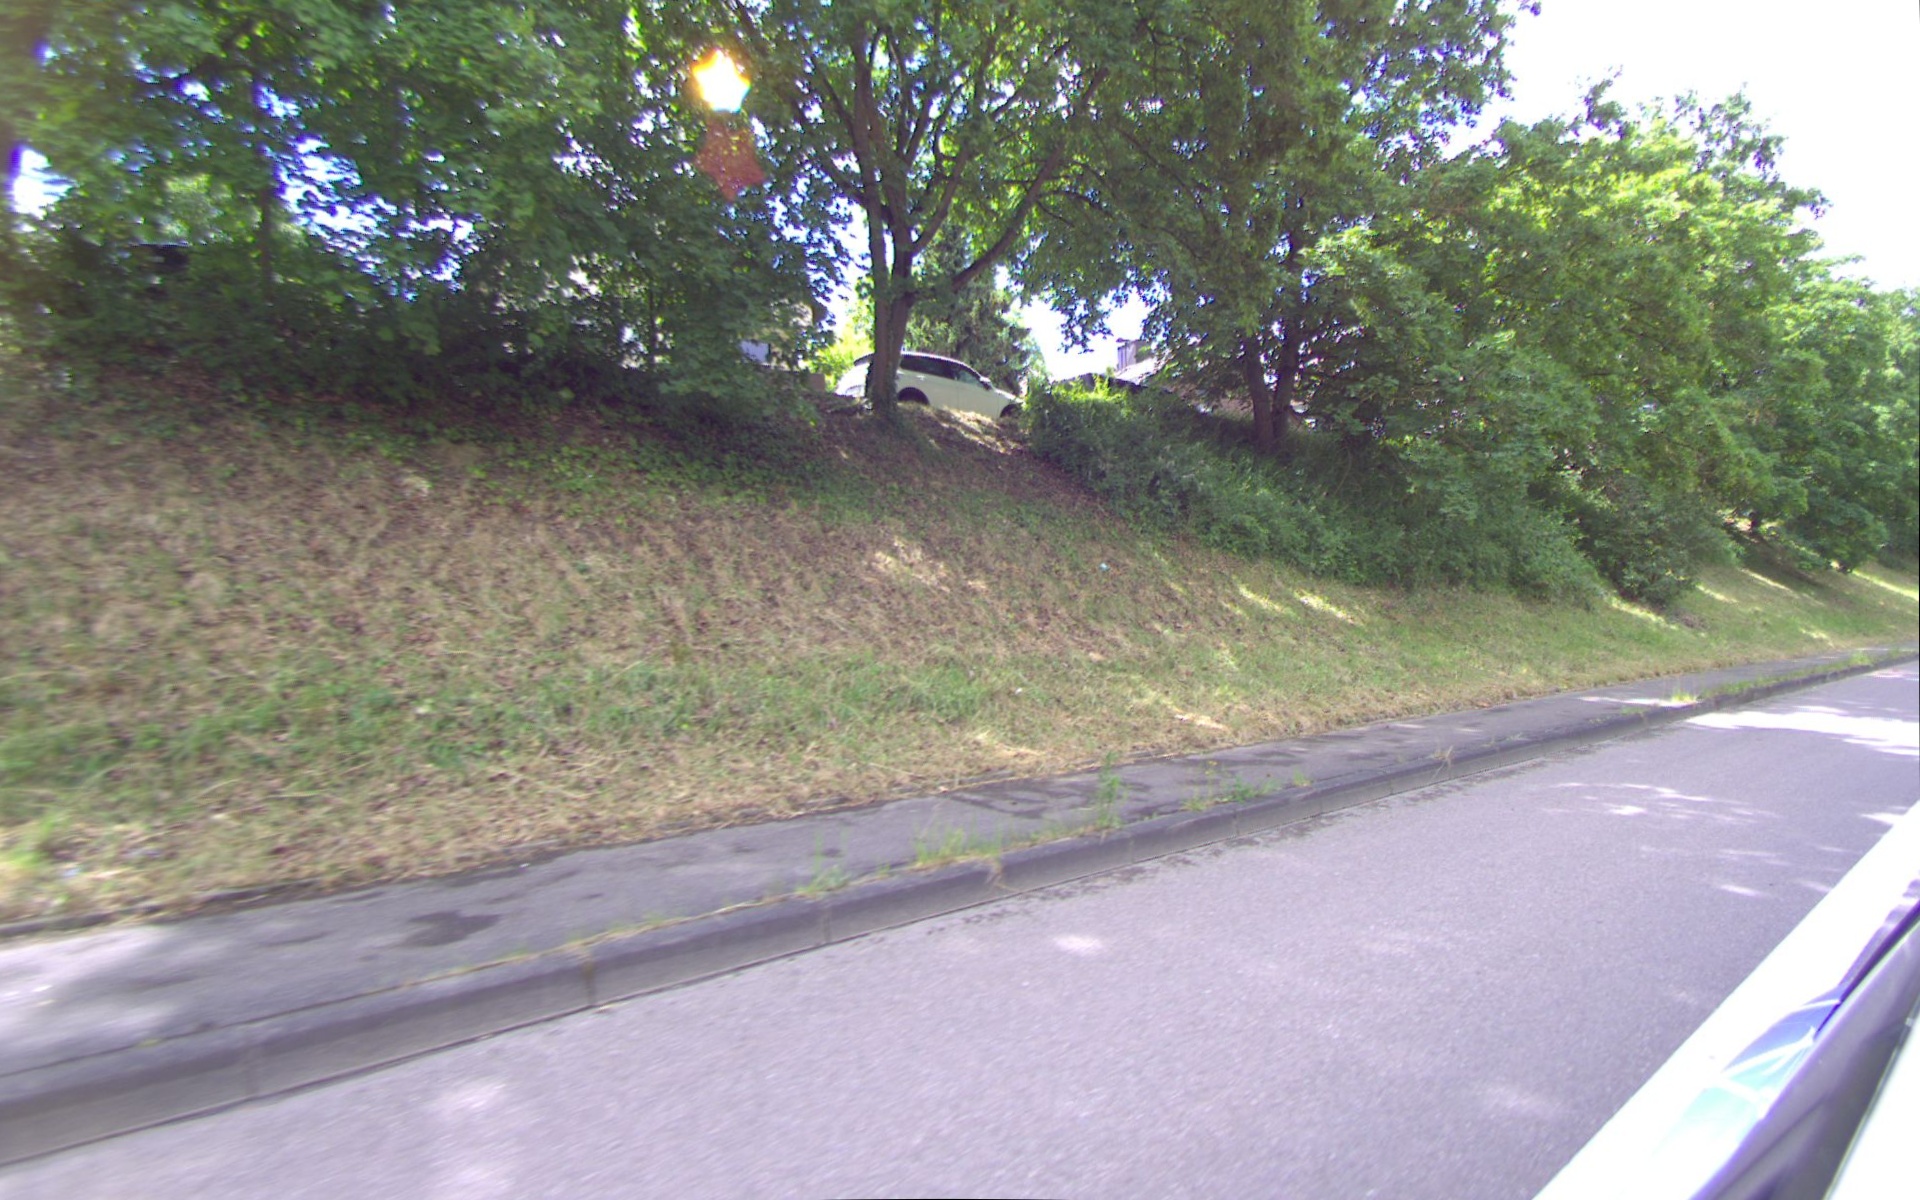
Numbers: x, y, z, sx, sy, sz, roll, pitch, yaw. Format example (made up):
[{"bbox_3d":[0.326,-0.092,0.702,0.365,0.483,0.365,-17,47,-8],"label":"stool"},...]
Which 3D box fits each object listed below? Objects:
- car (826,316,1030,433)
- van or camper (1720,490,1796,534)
[{"bbox_3d":[-0.576,-4.416,20.334,3.929,1.517,1.777,0,0,-42],"label":"car"},{"bbox_3d":[46.339,-5.034,58.723,6.052,2.095,2.221,0,1,-40],"label":"van or camper"}]
